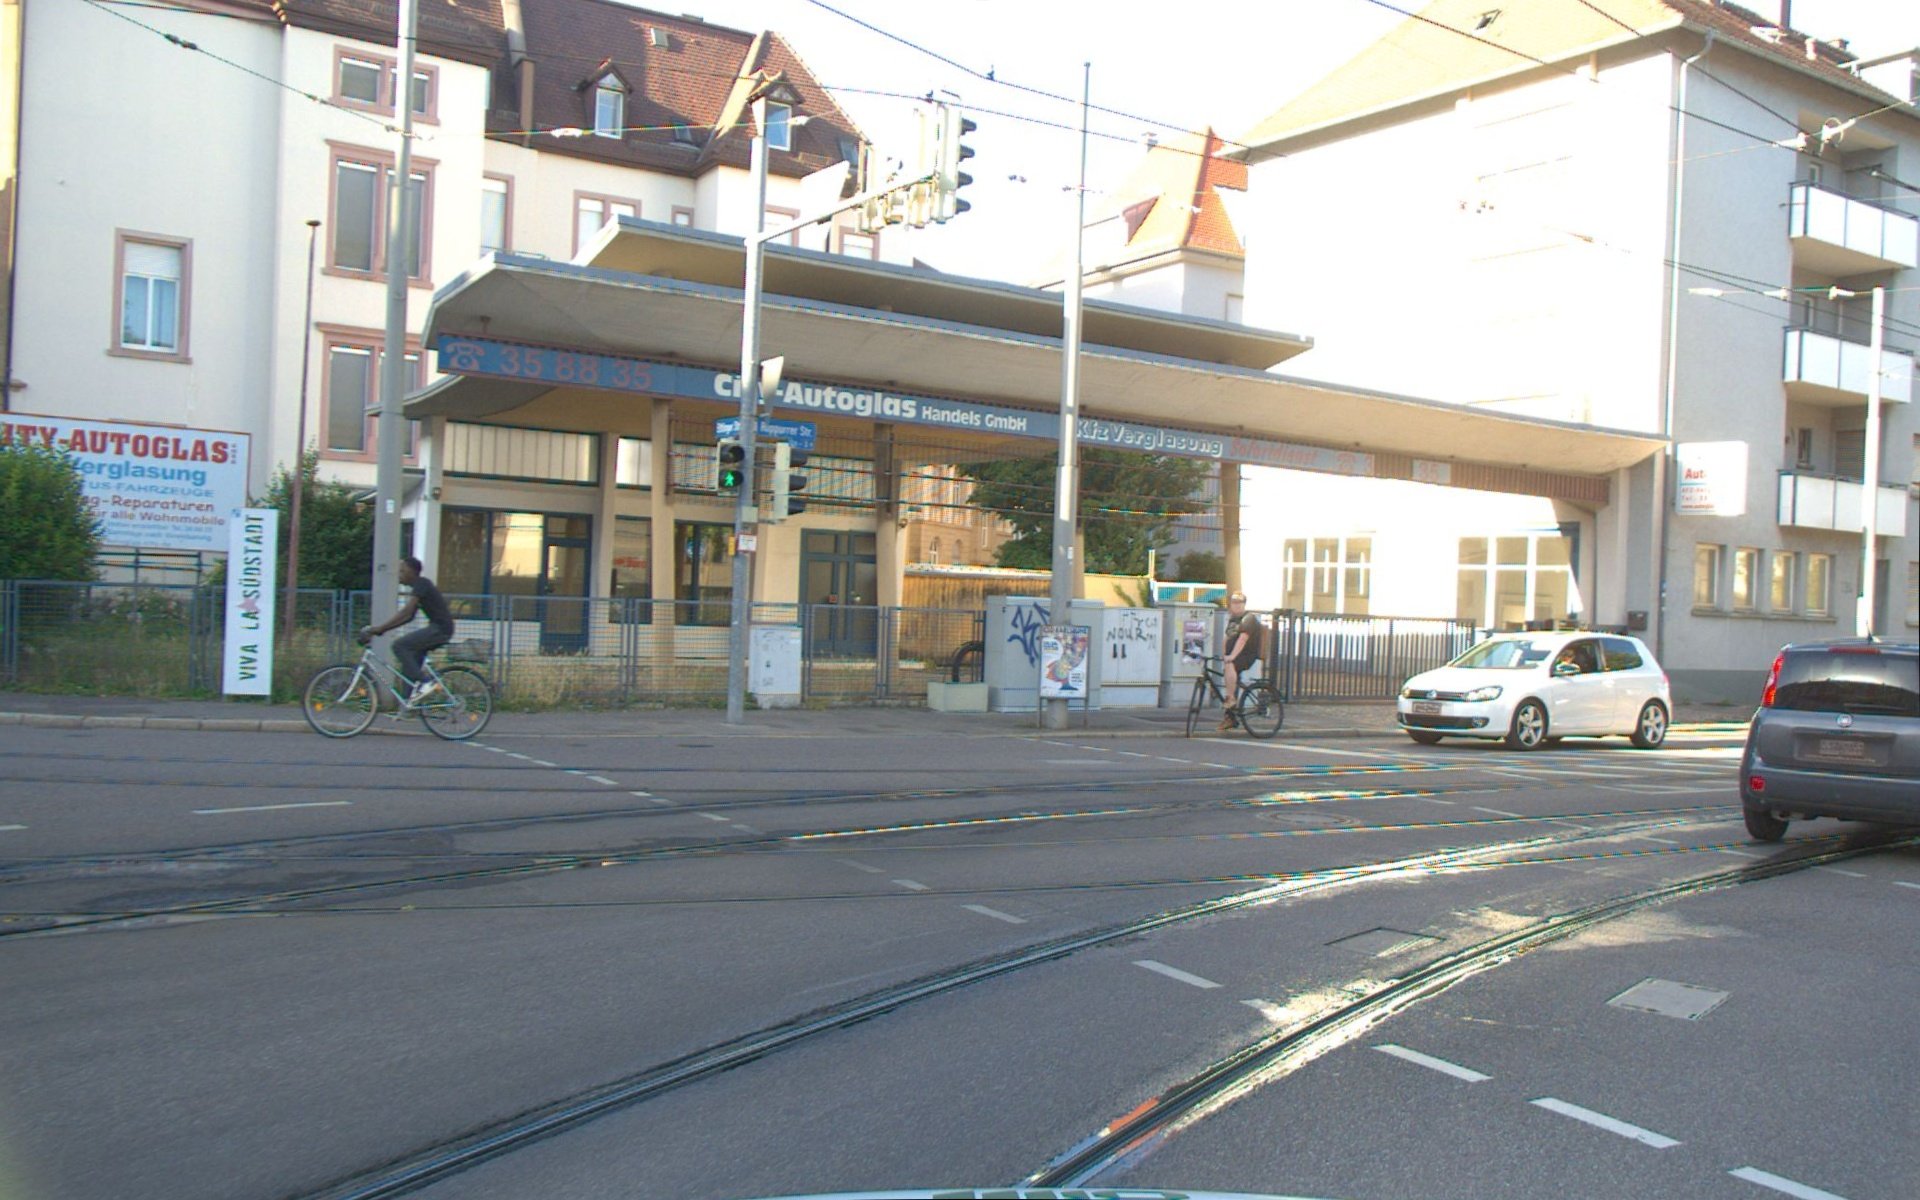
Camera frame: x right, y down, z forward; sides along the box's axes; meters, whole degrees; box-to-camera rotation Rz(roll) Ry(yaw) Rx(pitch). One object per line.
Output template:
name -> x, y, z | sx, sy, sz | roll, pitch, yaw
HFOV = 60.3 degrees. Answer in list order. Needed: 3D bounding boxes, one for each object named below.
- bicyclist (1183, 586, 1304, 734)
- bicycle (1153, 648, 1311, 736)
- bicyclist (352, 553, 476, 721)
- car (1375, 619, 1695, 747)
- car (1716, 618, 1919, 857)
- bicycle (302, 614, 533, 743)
bicyclist -> 3.625, 0.755, 21.134 | 1.241, 1.818, 0.899 | 2, 0, -39
bicycle -> 3.472, 1.159, 21.024 | 2.023, 1.035, 0.719 | 2, 0, -34
bicyclist -> -5.267, 0.349, 15.935 | 1.033, 1.553, 0.873 | 2, 0, -23
car -> 7.450, 1.049, 21.306 | 4.138, 1.484, 1.775 | 2, -1, -34
car -> 7.479, 0.994, 12.660 | 3.968, 1.527, 1.709 | 3, 0, -44
bicycle -> -5.235, 0.755, 15.951 | 2.030, 1.145, 0.890 | 2, 0, -23
